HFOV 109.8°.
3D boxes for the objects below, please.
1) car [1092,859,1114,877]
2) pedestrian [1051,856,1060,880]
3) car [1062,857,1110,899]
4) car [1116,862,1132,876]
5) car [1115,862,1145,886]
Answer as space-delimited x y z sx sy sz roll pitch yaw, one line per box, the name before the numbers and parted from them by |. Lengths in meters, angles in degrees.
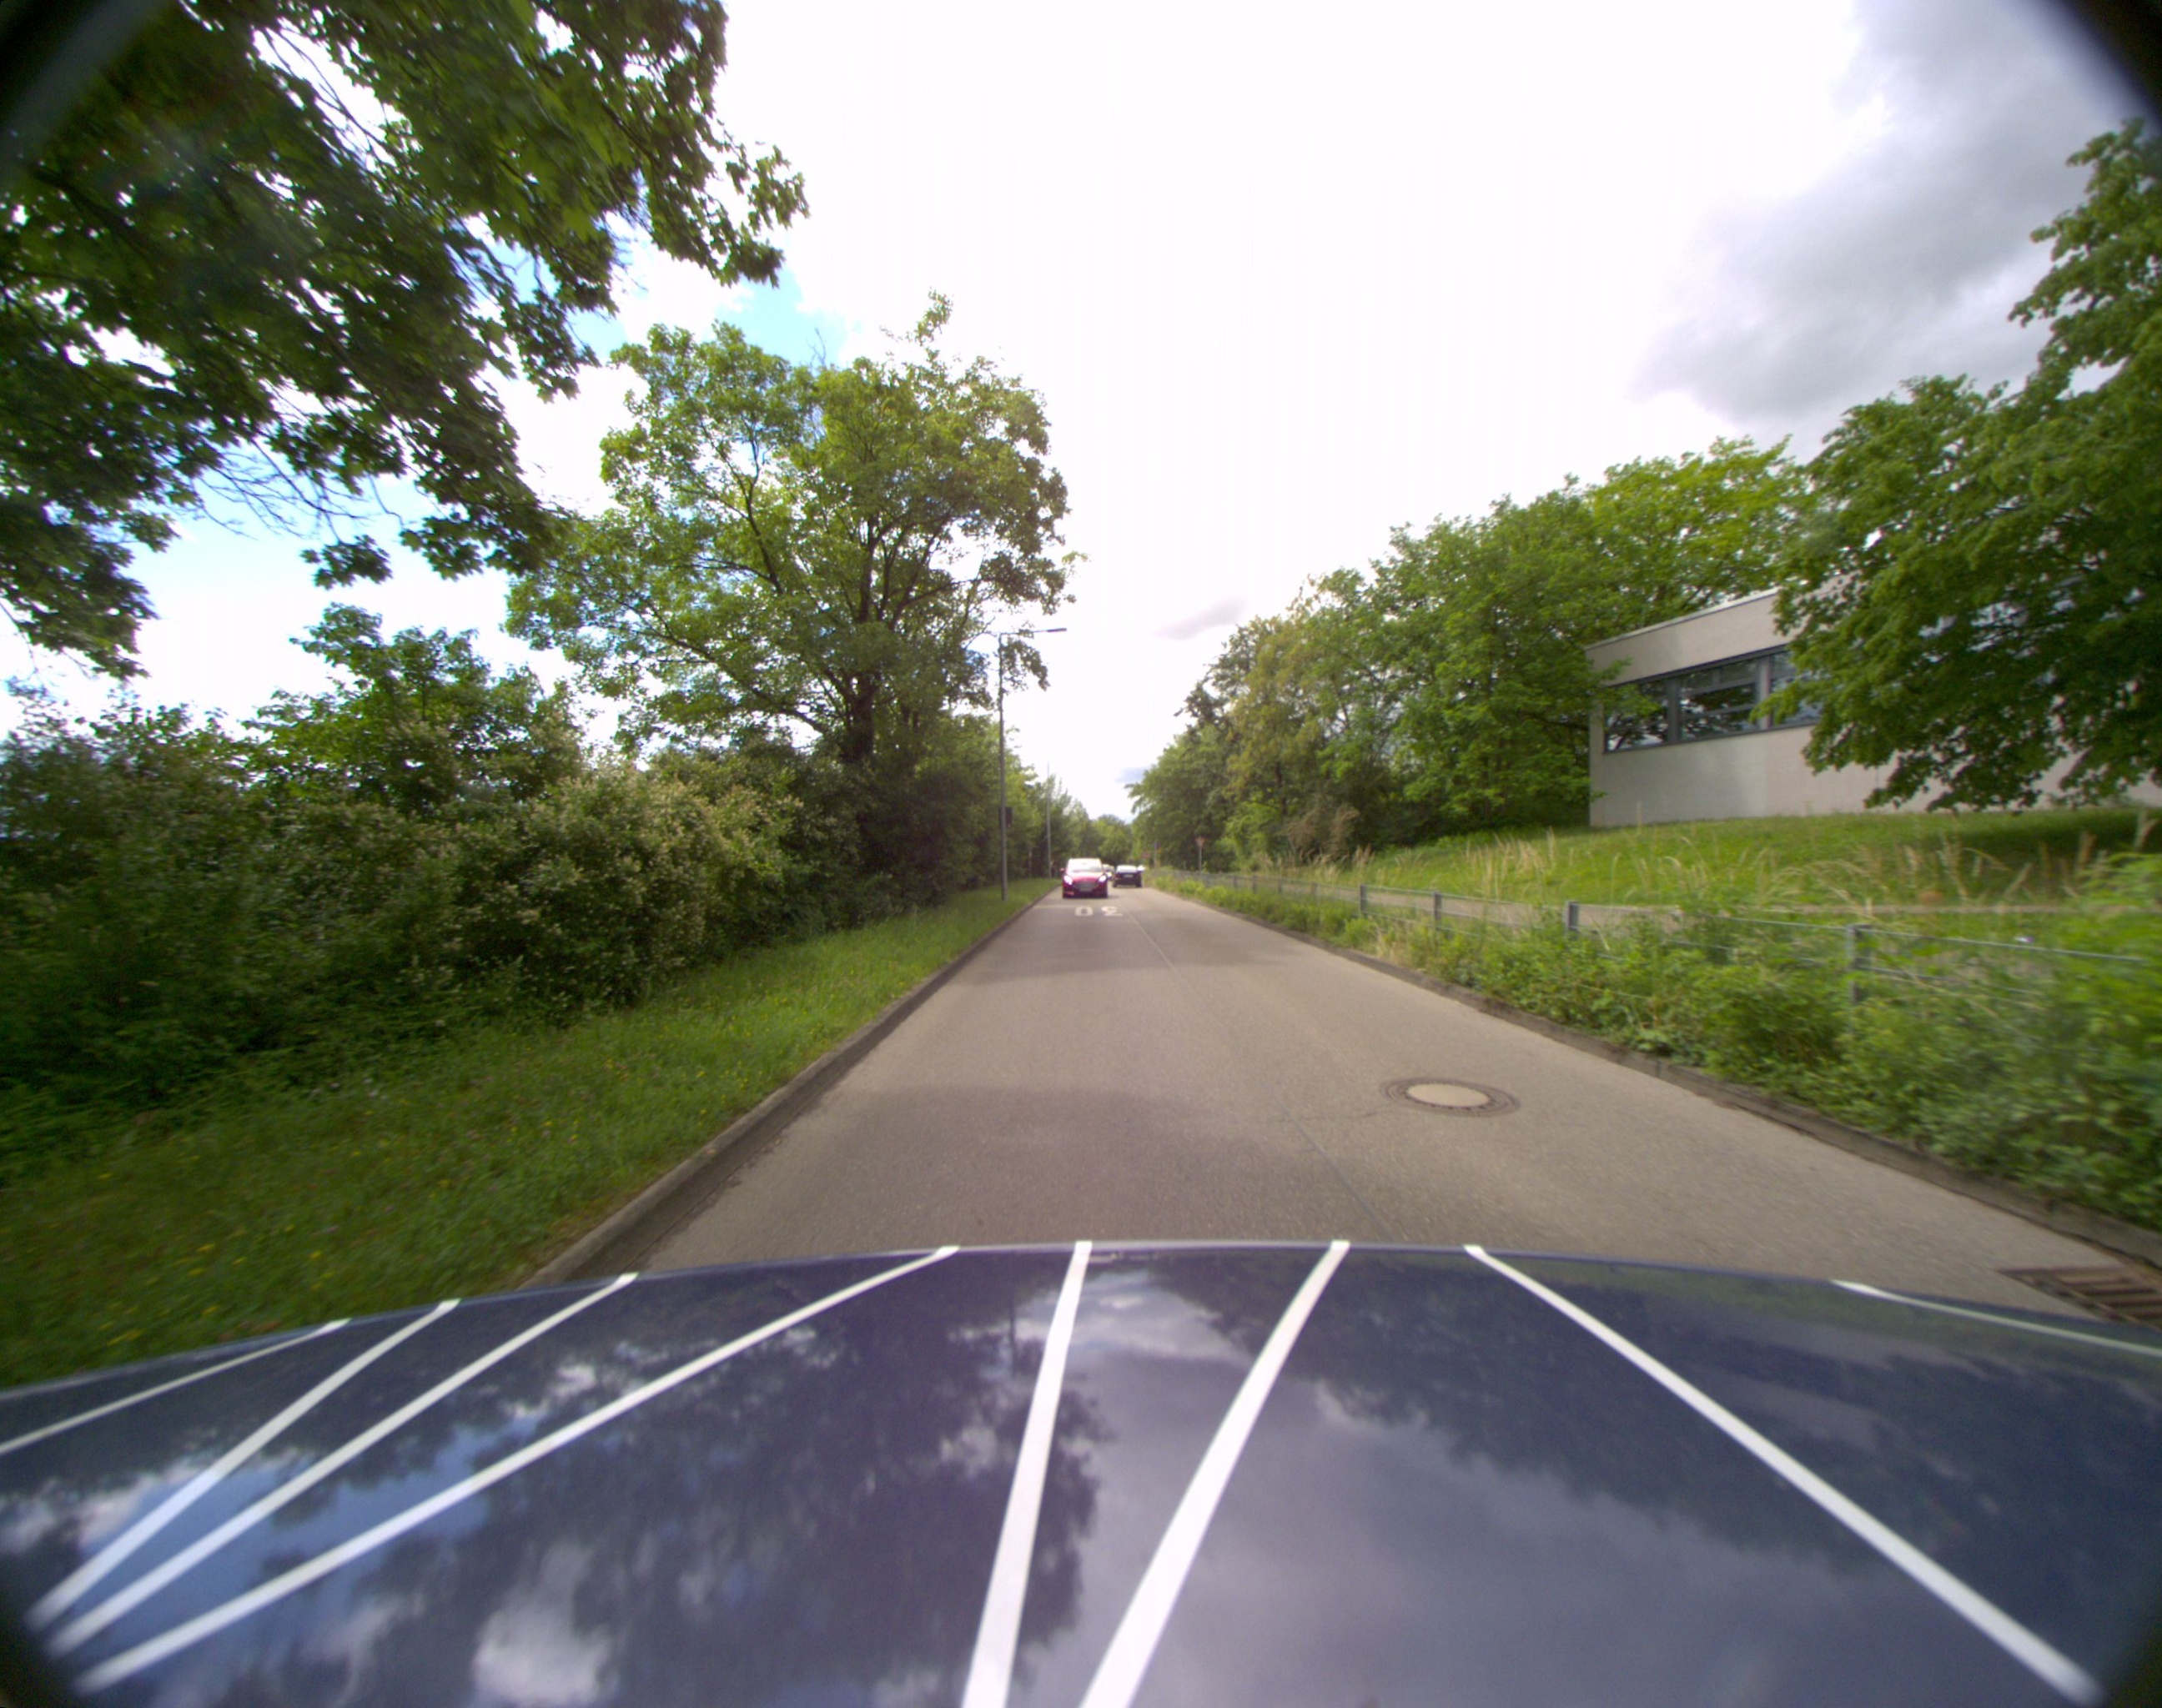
car | 2.162 1.322 73.214 1.998 1.586 4.001 -1 0 4
pedestrian | -1.947 1.070 58.445 0.675 1.826 0.606 -1 1 -3
car | 0.269 0.968 32.629 1.861 1.608 4.476 -2 0 2
car | 5.214 1.765 91.968 1.801 1.434 3.999 -1 2 2
car | 2.943 1.189 46.355 1.620 1.324 4.000 -1 0 1
